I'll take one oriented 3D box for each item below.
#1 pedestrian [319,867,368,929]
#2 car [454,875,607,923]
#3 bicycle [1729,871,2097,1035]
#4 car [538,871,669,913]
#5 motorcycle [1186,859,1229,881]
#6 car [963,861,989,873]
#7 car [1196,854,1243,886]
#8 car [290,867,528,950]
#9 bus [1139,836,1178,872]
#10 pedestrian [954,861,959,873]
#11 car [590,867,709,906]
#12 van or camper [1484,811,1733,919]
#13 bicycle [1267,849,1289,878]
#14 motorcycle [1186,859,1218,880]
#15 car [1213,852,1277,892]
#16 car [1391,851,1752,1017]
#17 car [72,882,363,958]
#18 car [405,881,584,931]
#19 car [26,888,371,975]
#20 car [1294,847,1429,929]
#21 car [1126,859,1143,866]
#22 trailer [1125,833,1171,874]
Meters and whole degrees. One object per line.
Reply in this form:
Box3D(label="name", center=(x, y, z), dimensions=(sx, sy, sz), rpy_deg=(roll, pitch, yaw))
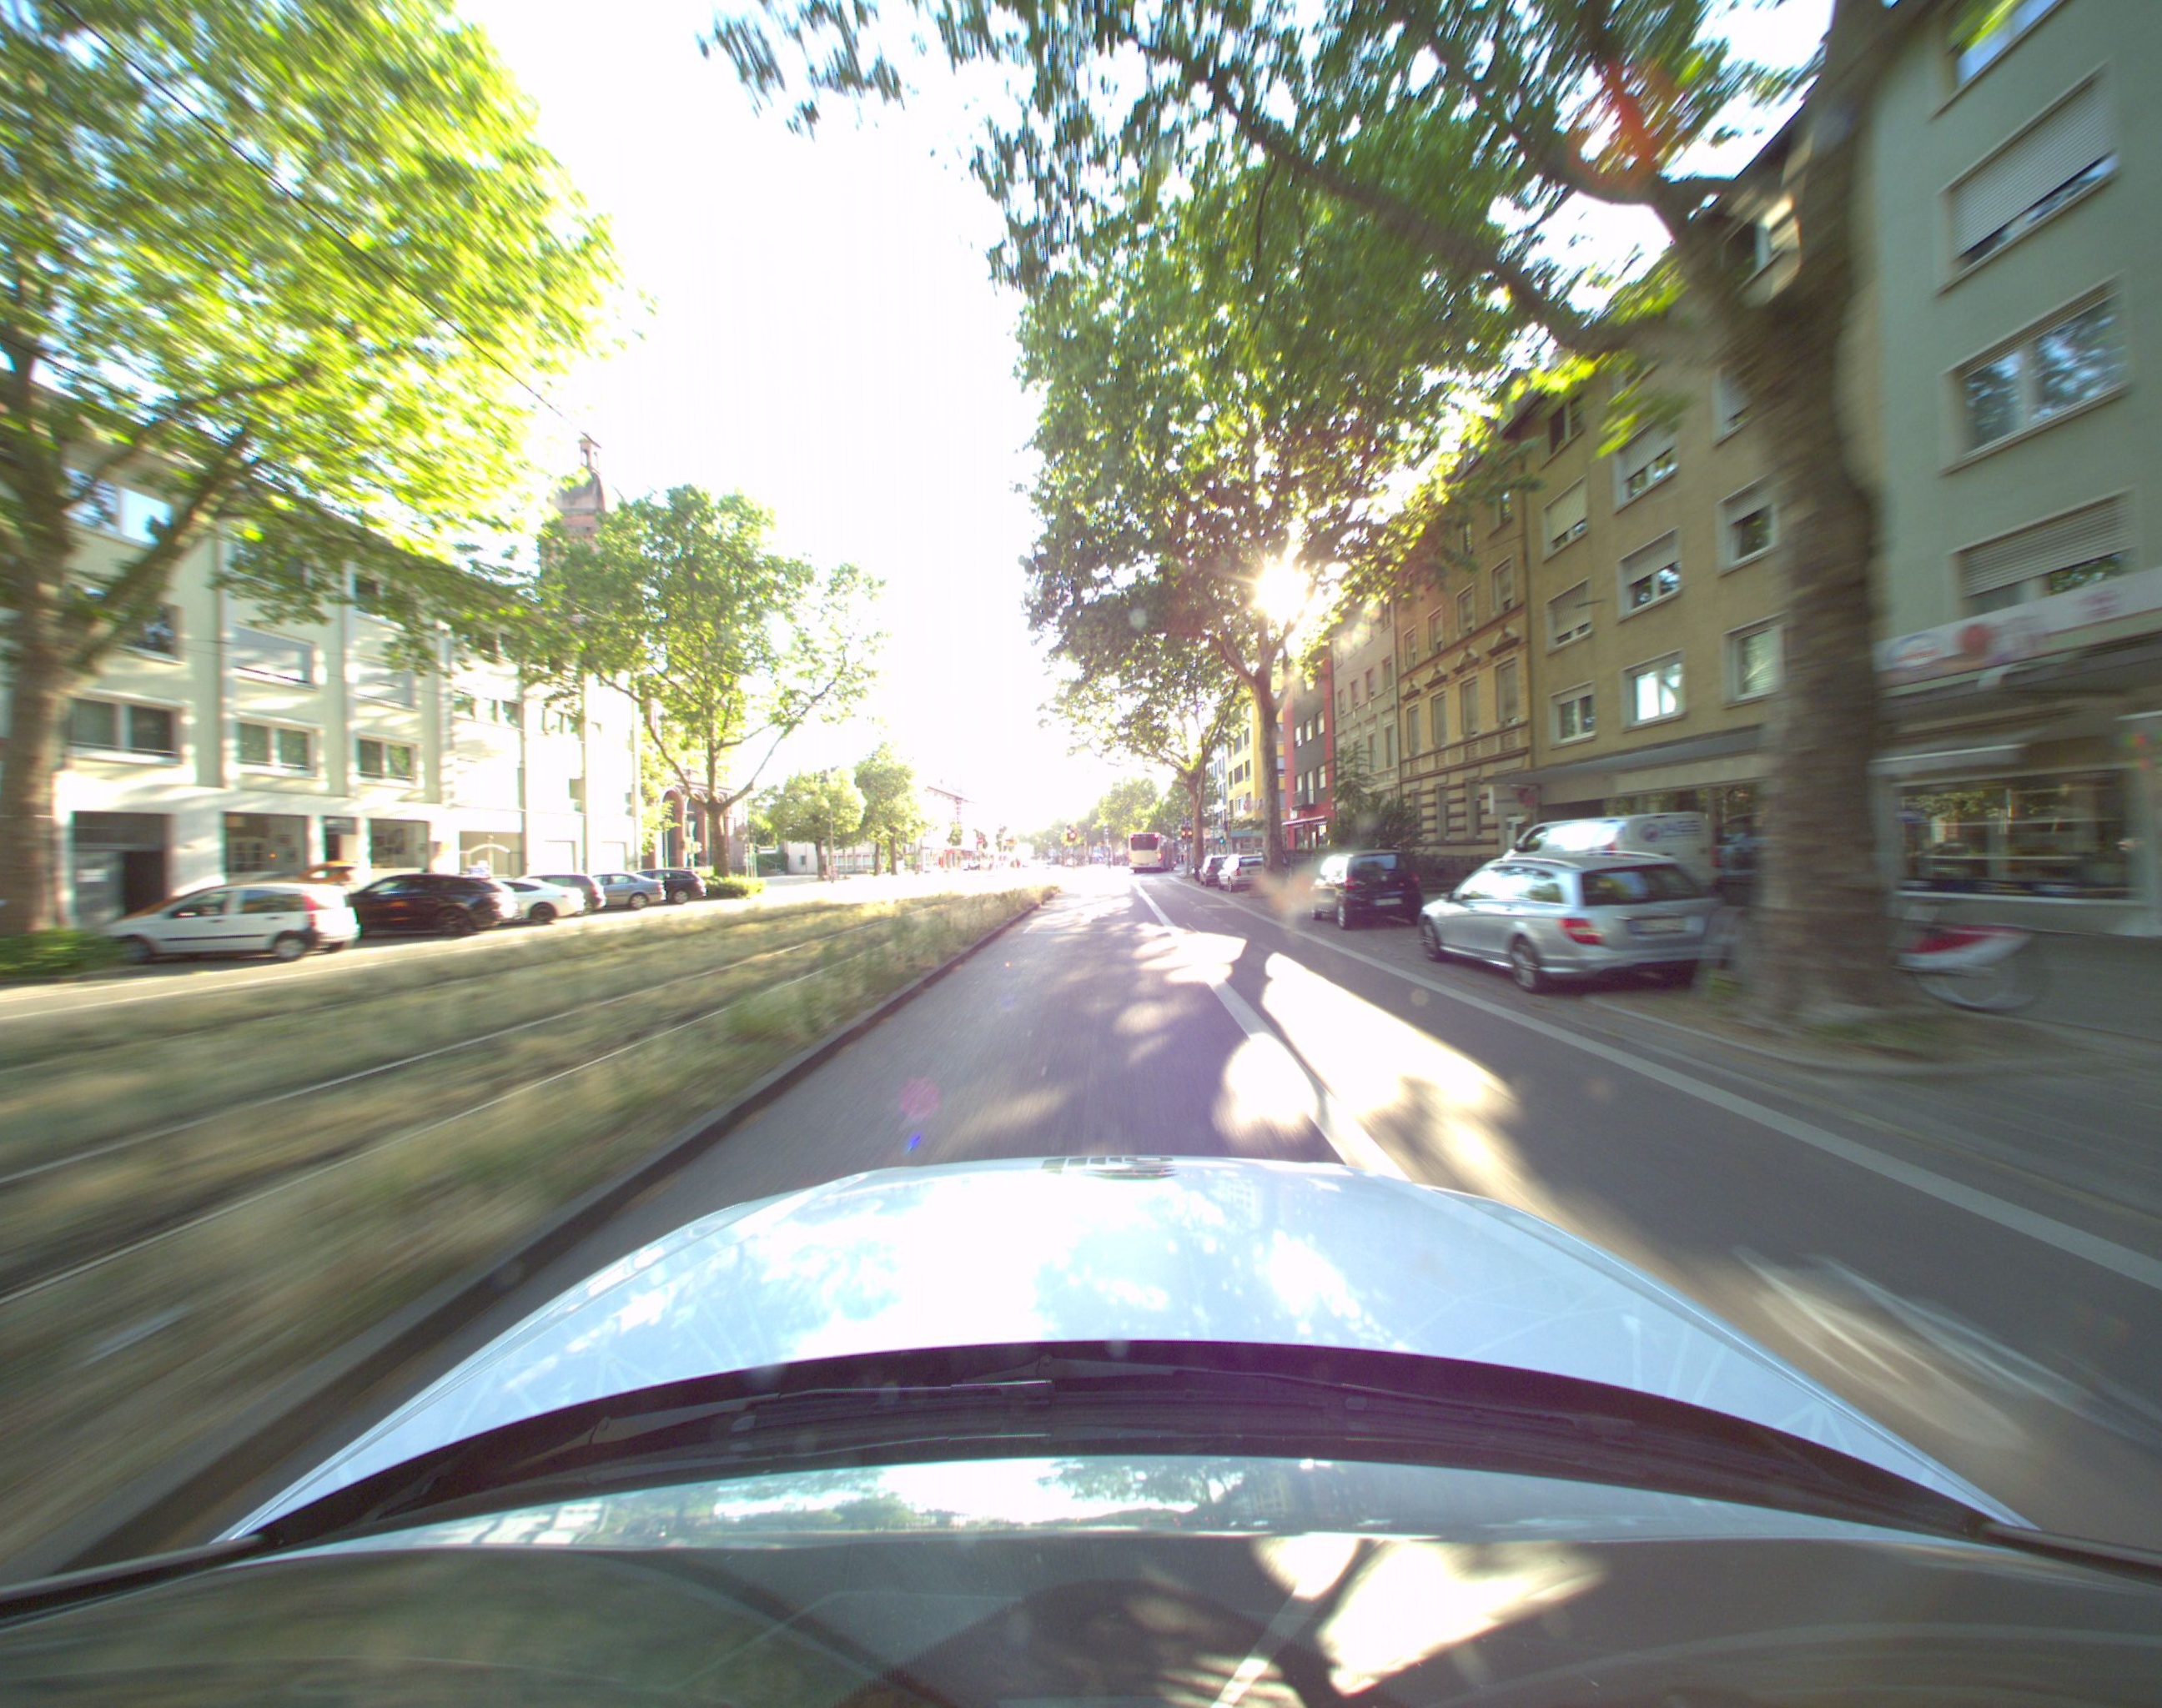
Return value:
Box3D(label="pedestrian", center=(-23.144, 1.353, 25.572), dimensions=(0.904, 1.900, 0.943), rpy_deg=(0, 0, -26))
Box3D(label="car", center=(-18.304, 1.439, 27.153), dimensions=(4.021, 1.441, 1.781), rpy_deg=(1, -1, -41))
Box3D(label="bicycle", center=(6.889, 0.736, 6.929), dimensions=(0.771, 1.131, 2.069), rpy_deg=(1, 0, -19))
Box3D(label="car", center=(-17.868, 1.390, 30.542), dimensions=(4.019, 1.441, 1.702), rpy_deg=(1, -1, -39))
Box3D(label="motorcycle", center=(6.887, 0.876, 44.295), dimensions=(2.213, 1.063, 0.762), rpy_deg=(-3, 0, -20))
Box3D(label="car", center=(-17.456, 2.173, 135.502), dimensions=(4.005, 1.816, 1.984), rpy_deg=(-1, 0, -24))
Box3D(label="car", center=(6.558, 0.727, 38.955), dimensions=(1.703, 1.396, 4.325), rpy_deg=(-1, 0, 3))
Box3D(label="car", center=(-17.443, 1.359, 21.456), dimensions=(4.370, 1.786, 1.978), rpy_deg=(-3, -1, -24))
Box3D(label="bus", center=(7.300, 0.072, 76.024), dimensions=(2.794, 3.101, 9.120), rpy_deg=(1, 0, 10))
Box3D(label="pedestrian", center=(-20.420, 2.160, 133.669), dimensions=(0.706, 2.014, 0.948), rpy_deg=(0, -1, -1))
Box3D(label="car", center=(-17.796, 1.312, 33.660), dimensions=(4.020, 1.479, 1.796), rpy_deg=(1, -1, -41))
Box3D(label="van or camper", center=(10.947, 0.201, 17.527), dimensions=(1.935, 1.922, 5.393), rpy_deg=(-2, 0, 1))
Box3D(label="bicycle", center=(9.837, 0.473, 40.704), dimensions=(0.604, 1.426, 2.398), rpy_deg=(1, 0, 3))
Box3D(label="motorcycle", center=(6.890, 0.866, 46.474), dimensions=(2.009, 1.152, 0.594), rpy_deg=(-1, 0, -40))
Box3D(label="car", center=(6.476, 0.691, 32.685), dimensions=(1.668, 1.451, 4.571), rpy_deg=(-1, 0, 0))
Box3D(label="car", center=(5.579, 0.764, 10.140), dimensions=(1.688, 1.542, 4.778), rpy_deg=(-1, 0, 1))
Box3D(label="car", center=(-18.793, 1.404, 17.976), dimensions=(3.998, 1.479, 1.766), rpy_deg=(1, -1, -19))
Box3D(label="car", center=(-17.538, 1.519, 24.592), dimensions=(4.222, 1.333, 1.704), rpy_deg=(1, -1, -34))
Box3D(label="car", center=(-17.395, 1.467, 16.388), dimensions=(4.370, 1.449, 1.646), rpy_deg=(0, -1, -25))
Box3D(label="car", center=(5.990, 0.661, 17.891), dimensions=(1.647, 1.545, 4.001), rpy_deg=(-2, 0, 1))
Box3D(label="car", center=(13.324, 2.079, 203.353), dimensions=(3.910, 1.699, 1.817), rpy_deg=(-1, 0, -26))
Box3D(label="trailer", center=(5.619, -0.002, 67.203), dimensions=(2.794, 3.110, 8.820), rpy_deg=(1, 0, 11))
